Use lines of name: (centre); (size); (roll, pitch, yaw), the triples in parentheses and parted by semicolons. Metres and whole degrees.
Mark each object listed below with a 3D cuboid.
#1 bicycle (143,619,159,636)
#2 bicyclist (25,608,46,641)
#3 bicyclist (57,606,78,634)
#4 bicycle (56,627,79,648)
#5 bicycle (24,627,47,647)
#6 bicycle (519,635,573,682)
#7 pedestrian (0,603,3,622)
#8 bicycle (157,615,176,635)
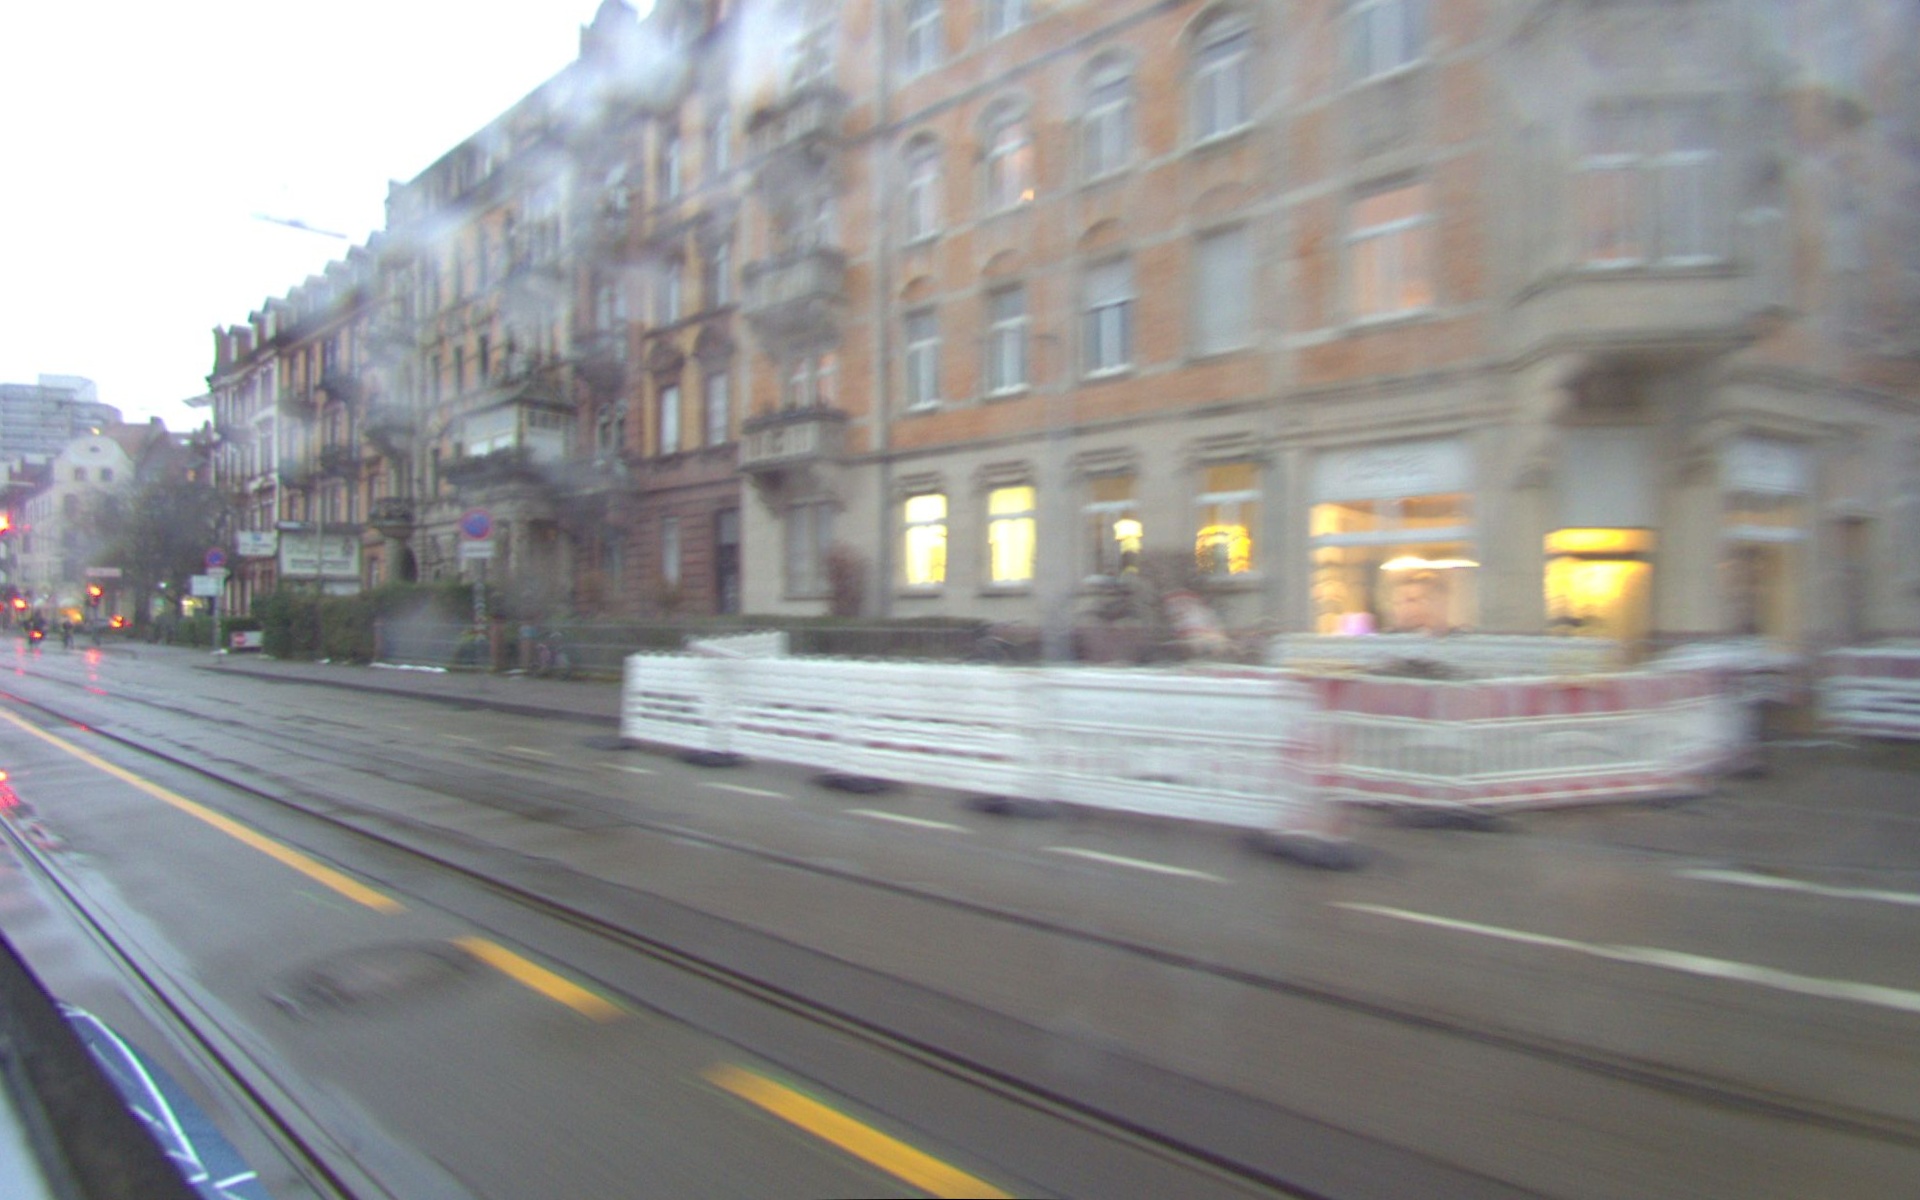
bicycle: (-42.754, 1.462, 53.484); (1.849, 0.869, 0.395); (-1, -1, 42)
bicyclist: (-45.842, 1.191, 50.172); (0.765, 1.628, 0.676); (-1, -1, 42)
bicyclist: (-45.543, 1.008, 51.633); (0.944, 1.374, 0.697); (-1, 0, 42)
bicycle: (-45.528, 1.909, 51.605); (1.802, 1.014, 0.674); (-1, -1, 42)
bicycle: (-45.786, 1.814, 50.129); (1.933, 0.979, 0.671); (-1, -1, 42)
bicycle: (-8.695, 1.212, 21.217); (1.684, 0.922, 0.260); (-1, 4, 41)
pedestrian: (-97.813, 1.293, 102.528); (0.785, 1.892, 0.897); (-2, 1, -13)
bicycle: (-39.293, 1.231, 50.108); (1.849, 1.014, 0.411); (-1, -1, 42)
